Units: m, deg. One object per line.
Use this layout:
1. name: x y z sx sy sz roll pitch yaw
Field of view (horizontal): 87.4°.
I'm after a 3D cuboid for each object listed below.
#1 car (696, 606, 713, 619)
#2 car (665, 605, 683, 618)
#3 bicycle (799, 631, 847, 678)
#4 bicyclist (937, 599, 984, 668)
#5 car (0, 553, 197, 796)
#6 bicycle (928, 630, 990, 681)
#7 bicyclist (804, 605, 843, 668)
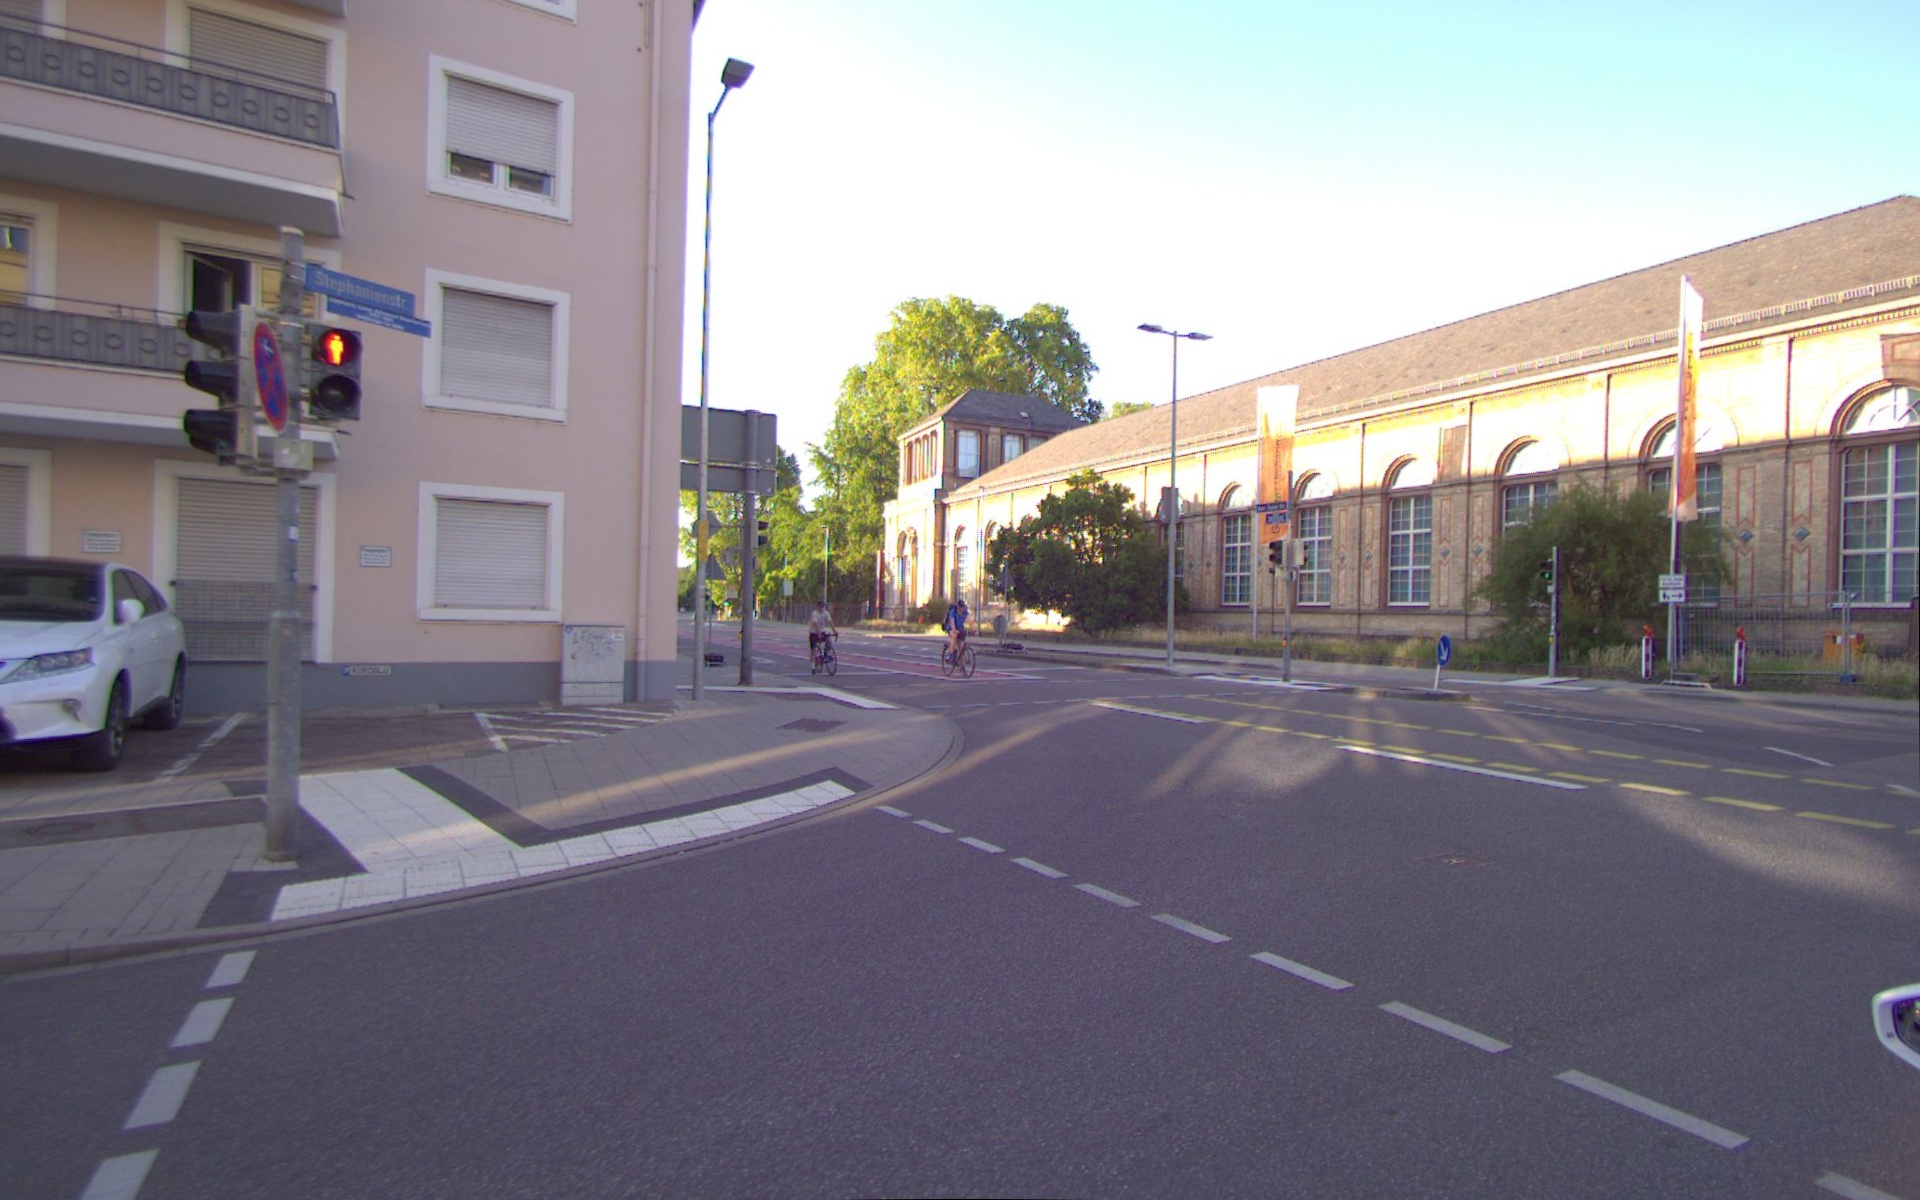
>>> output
1. car: -36.395 1.807 143.066 1.969 1.743 3.983 1 -1 -19
2. car: -40.280 1.632 141.341 1.971 1.743 3.979 1 -1 -22
3. bicycle: -3.253 1.275 23.814 0.713 1.024 1.680 1 -1 -22
4. bicyclist: -0.005 0.763 23.299 0.703 1.565 1.119 1 0 -23
5. car: -8.060 0.437 8.583 1.920 1.663 4.417 1 1 -31
6. bicycle: -0.049 1.265 23.373 0.713 1.082 1.990 1 -1 -22
7. bicyclist: -3.246 0.845 23.820 0.703 1.459 0.889 1 0 -23
